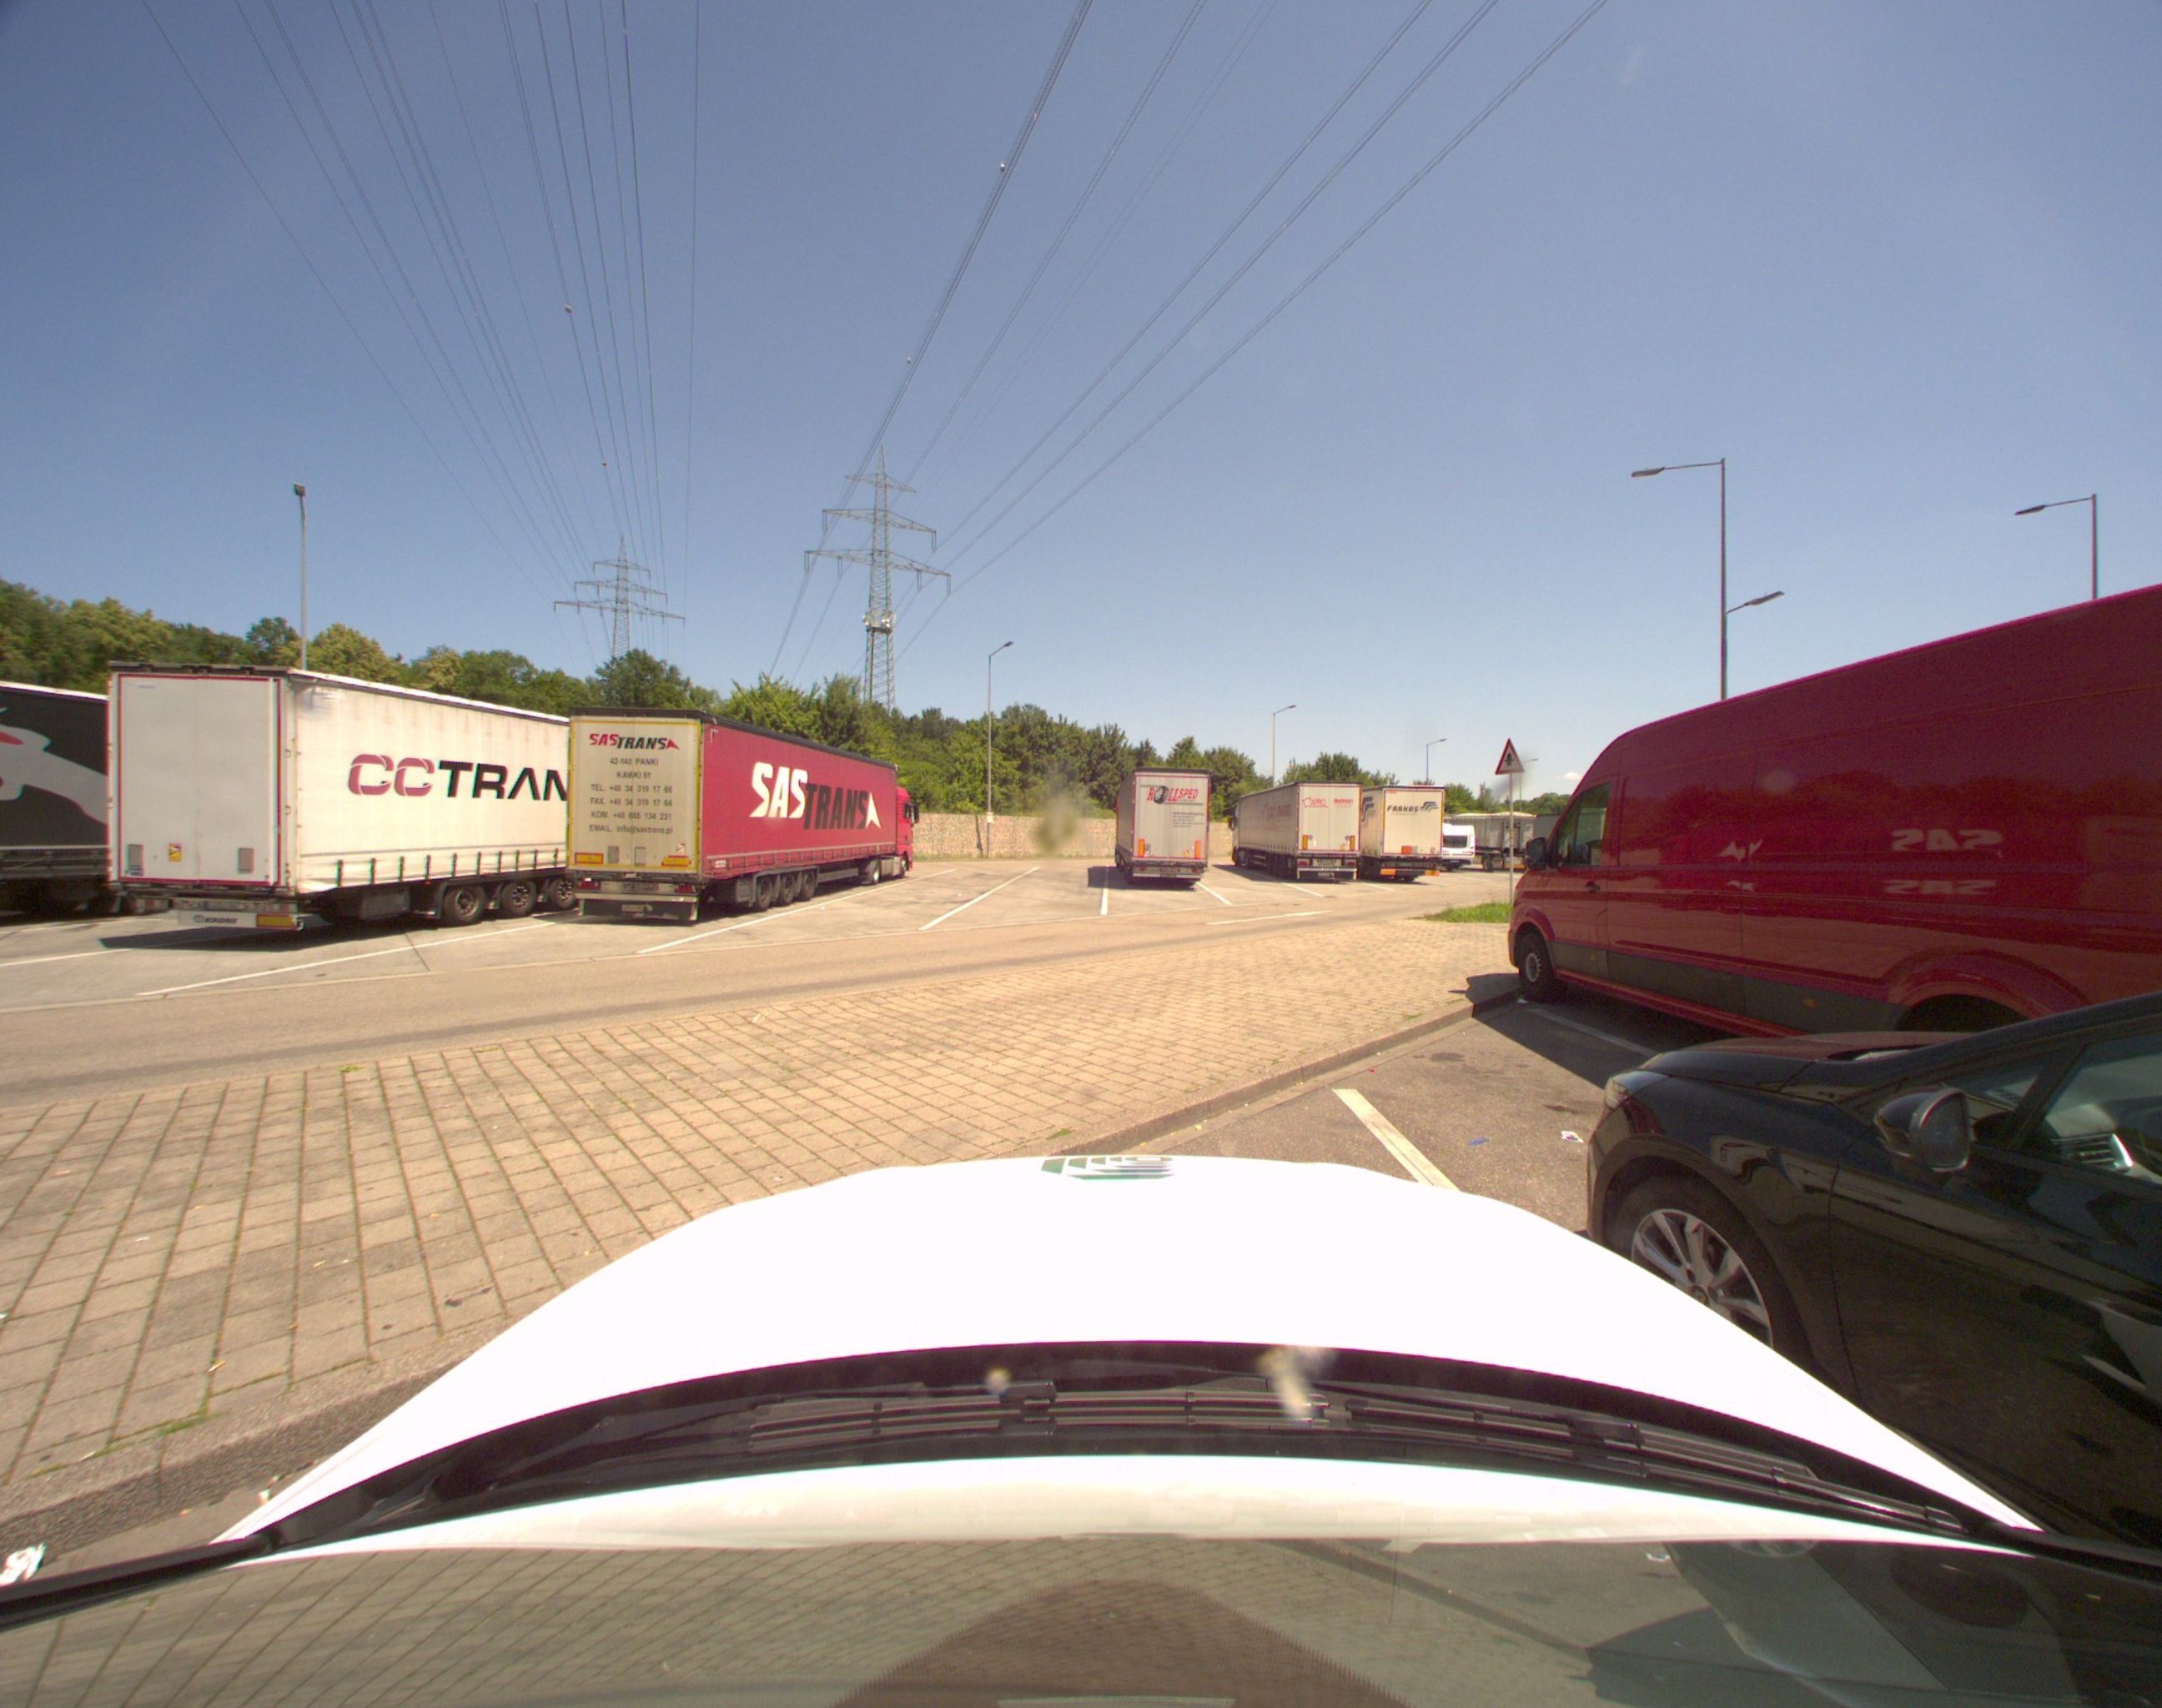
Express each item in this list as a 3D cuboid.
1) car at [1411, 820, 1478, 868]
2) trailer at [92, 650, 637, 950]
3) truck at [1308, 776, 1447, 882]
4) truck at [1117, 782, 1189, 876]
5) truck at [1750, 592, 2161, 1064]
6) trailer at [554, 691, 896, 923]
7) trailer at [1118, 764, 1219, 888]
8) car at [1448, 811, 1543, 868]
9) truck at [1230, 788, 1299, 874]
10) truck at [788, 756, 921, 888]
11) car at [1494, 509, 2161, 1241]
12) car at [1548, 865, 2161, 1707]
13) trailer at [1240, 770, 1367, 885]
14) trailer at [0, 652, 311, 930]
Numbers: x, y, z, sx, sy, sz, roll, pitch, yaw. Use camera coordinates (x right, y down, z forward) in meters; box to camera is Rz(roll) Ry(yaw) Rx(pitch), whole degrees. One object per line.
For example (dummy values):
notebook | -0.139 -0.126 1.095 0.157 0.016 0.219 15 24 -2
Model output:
car | 20.536 -0.522 46.151 2.107 2.599 4.001 0 -1 2
trailer | -12.183 -0.810 15.417 2.744 4.152 8.291 0 1 2
truck | 13.532 -0.943 38.604 2.577 4.226 11.974 0 -1 2
truck | 3.213 -1.094 37.808 2.861 3.980 6.031 -1 1 1
truck | 7.770 -0.155 5.620 2.508 2.827 4.821 0 -1 3
trailer | -7.999 -0.949 21.472 2.789 4.219 13.208 -1 1 2
trailer | 3.115 -1.007 32.214 2.887 4.013 11.318 -1 1 1
car | 24.133 -0.826 47.773 2.490 3.074 6.353 -1 1 2
truck | 10.075 -1.236 45.205 2.651 4.452 5.866 -1 1 2
truck | -7.749 -1.059 28.729 2.795 4.133 5.896 -1 1 2
car | 5.133 0.031 5.512 1.984 2.633 6.393 -1 1 5
car | 2.532 0.758 0.907 1.772 1.457 3.681 0 -1 -3
trailer | 9.900 -1.116 38.087 2.672 4.452 12.833 -1 1 1
trailer | -18.553 -1.020 15.000 2.668 4.444 6.151 -1 1 2
